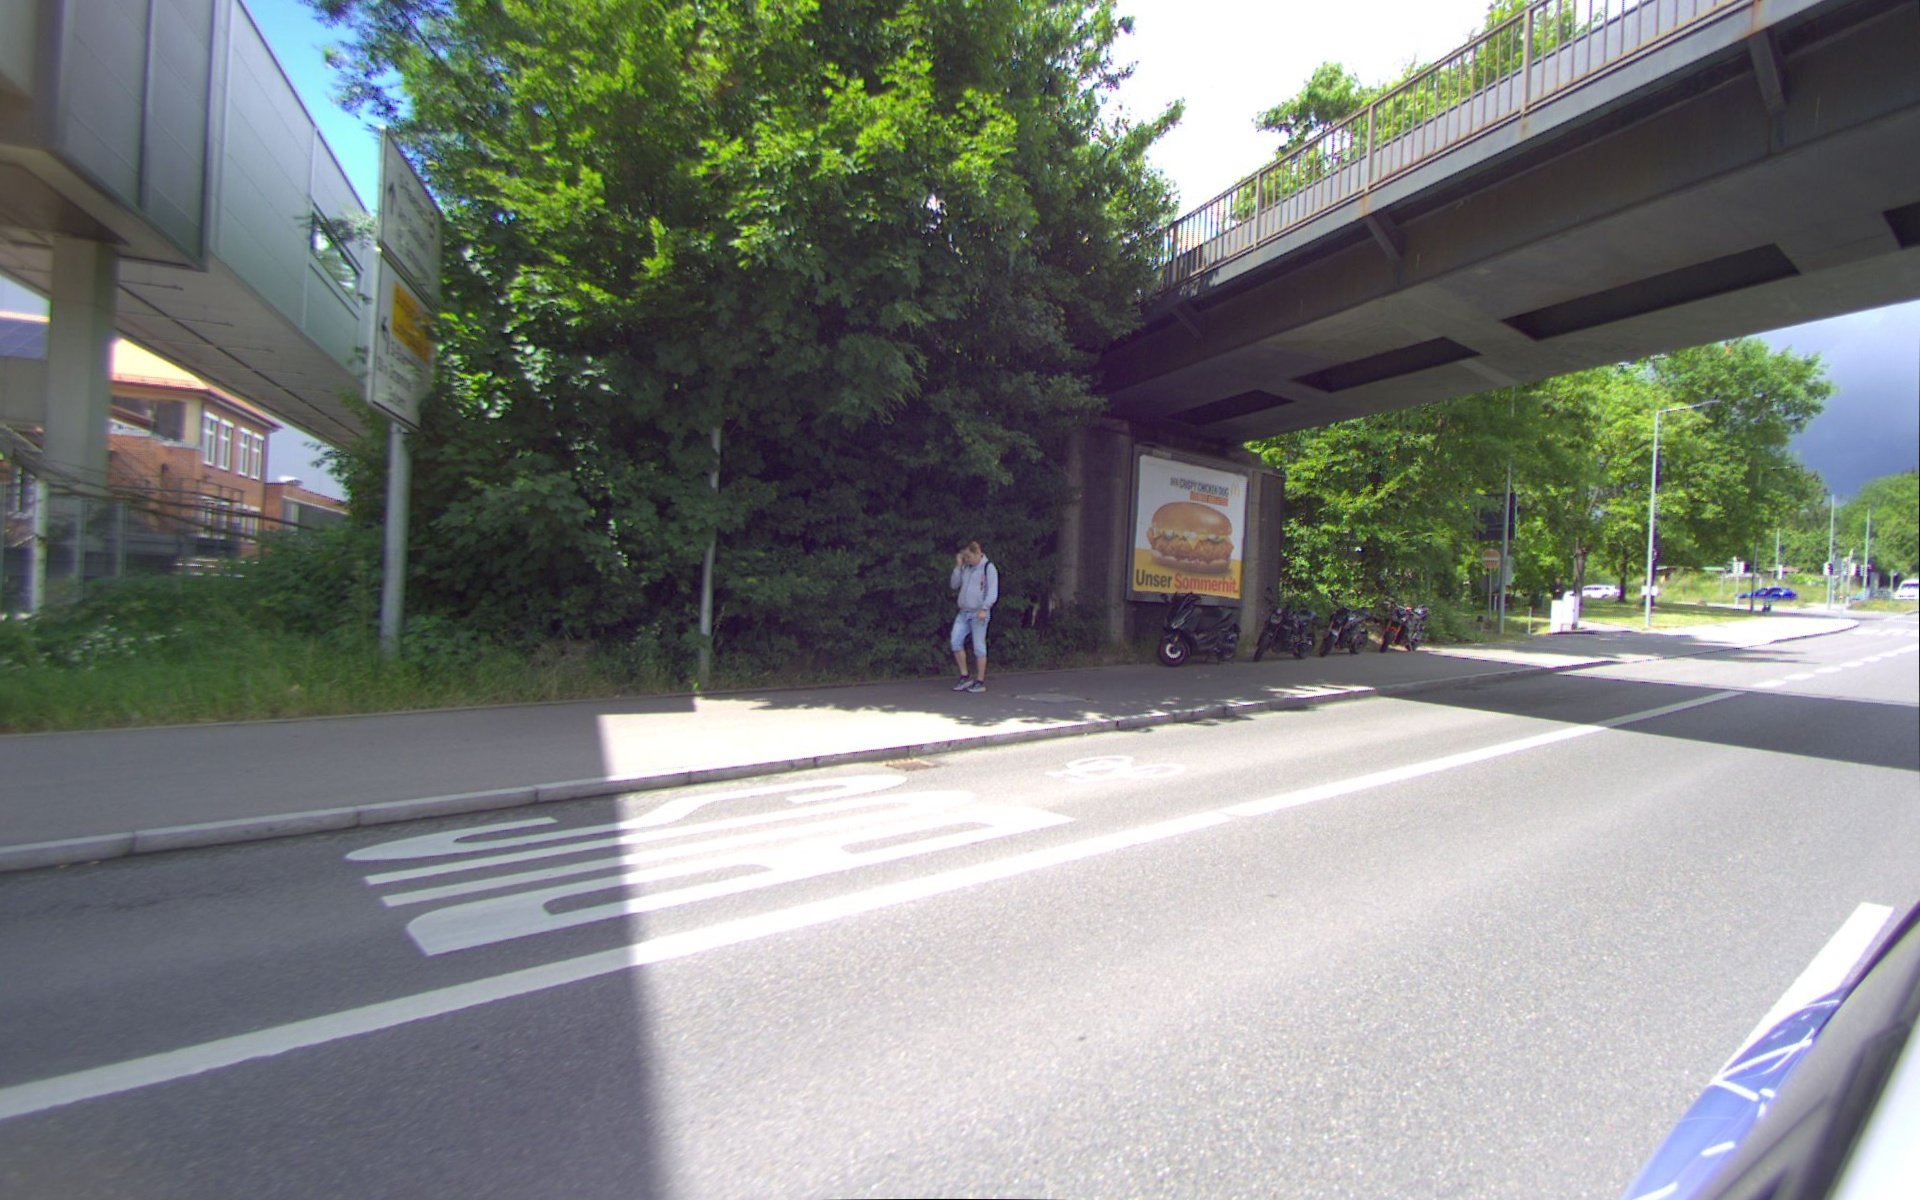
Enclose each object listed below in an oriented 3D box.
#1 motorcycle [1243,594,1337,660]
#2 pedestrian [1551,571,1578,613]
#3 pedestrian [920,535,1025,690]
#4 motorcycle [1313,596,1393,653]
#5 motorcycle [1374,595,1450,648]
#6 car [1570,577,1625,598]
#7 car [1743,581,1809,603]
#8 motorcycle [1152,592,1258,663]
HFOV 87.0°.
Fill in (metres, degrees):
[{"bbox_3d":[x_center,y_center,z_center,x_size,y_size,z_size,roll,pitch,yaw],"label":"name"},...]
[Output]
[{"bbox_3d":[6.248,0.488,19.104,2.123,1.157,0.679,0,2,-41],"label":"motorcycle"},{"bbox_3d":[26.836,-0.349,44.933,0.942,1.834,0.711,2,1,27],"label":"pedestrian"},{"bbox_3d":[0.162,0.145,13.133,1.078,1.911,0.791,0,1,-41],"label":"pedestrian"},{"bbox_3d":[8.090,0.482,20.788,2.003,1.096,0.679,0,2,-41],"label":"motorcycle"},{"bbox_3d":[9.965,0.461,22.274,2.142,1.096,0.679,0,2,-41],"label":"motorcycle"},{"bbox_3d":[60.096,-1.194,95.438,4.070,1.766,1.969,3,2,44],"label":"car"},{"bbox_3d":[69.351,-0.699,86.058,1.965,1.766,4.078,0,2,-40],"label":"car"},{"bbox_3d":[4.317,0.457,17.739,2.075,1.169,0.679,0,2,-39],"label":"motorcycle"}]
